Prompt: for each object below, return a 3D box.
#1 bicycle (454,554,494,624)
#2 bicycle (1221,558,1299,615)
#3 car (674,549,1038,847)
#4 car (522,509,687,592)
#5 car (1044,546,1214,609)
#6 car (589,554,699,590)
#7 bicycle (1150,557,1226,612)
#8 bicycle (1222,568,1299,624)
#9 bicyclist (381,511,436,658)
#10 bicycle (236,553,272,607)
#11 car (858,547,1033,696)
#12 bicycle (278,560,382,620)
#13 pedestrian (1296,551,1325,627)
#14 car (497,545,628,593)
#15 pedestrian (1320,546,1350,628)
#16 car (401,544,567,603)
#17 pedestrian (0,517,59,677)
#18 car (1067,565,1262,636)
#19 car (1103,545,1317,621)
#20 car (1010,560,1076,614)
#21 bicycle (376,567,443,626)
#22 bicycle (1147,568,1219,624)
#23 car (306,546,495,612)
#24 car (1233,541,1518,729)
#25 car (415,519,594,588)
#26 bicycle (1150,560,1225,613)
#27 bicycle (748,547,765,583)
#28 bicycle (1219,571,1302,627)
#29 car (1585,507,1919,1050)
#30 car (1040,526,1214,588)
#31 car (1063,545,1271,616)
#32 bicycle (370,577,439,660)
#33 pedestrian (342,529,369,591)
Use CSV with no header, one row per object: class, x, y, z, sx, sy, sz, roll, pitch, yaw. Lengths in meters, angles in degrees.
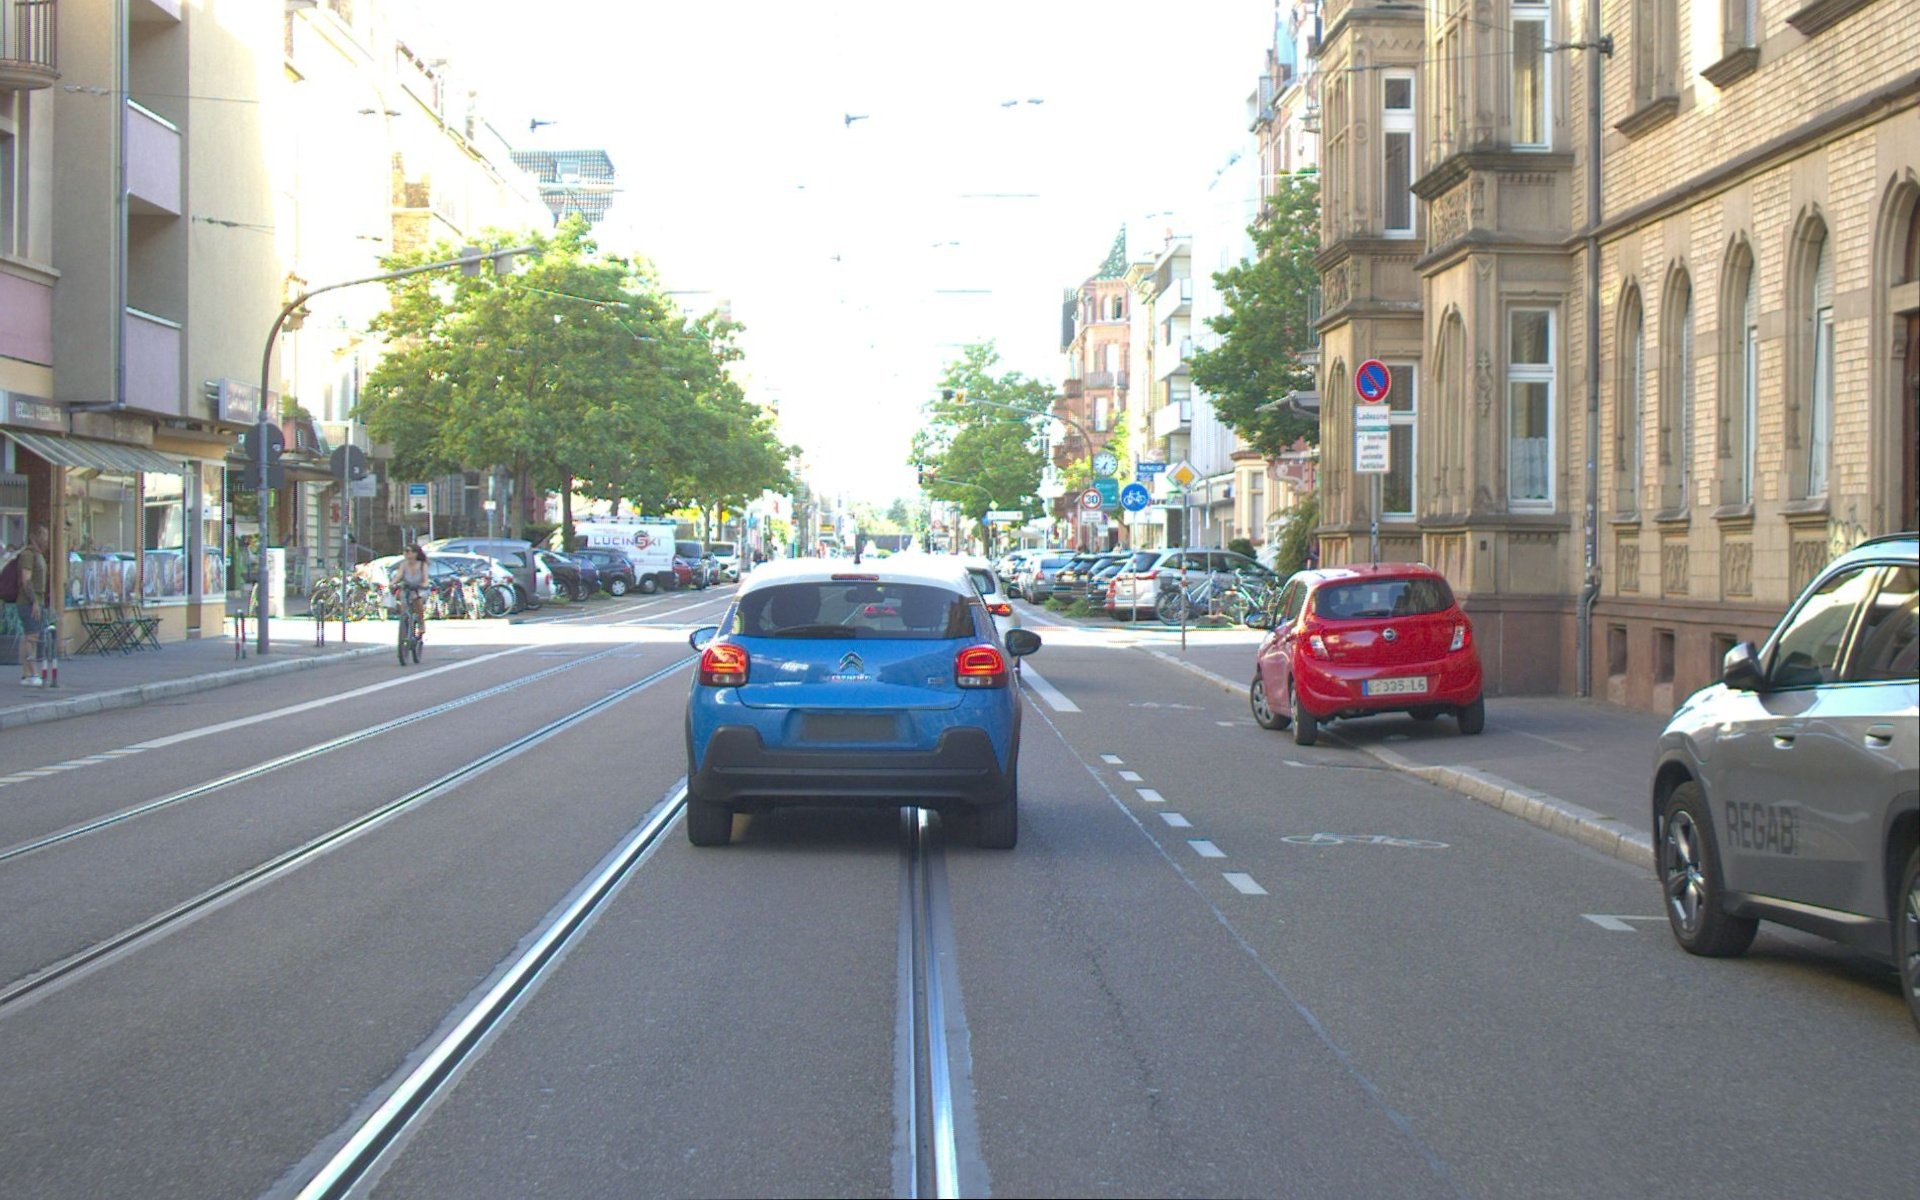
bicycle,-10.058,-0.239,71.200,0.681,1.315,2.436,1,3,-5
bicycle,6.134,-0.281,70.176,1.556,1.123,0.551,1,0,6
car,-0.546,0.469,18.691,1.762,1.436,3.557,1,0,-1
car,-12.322,-1.708,119.170,5.370,2.739,1.806,1,0,-30
car,4.513,-0.596,91.813,3.986,1.590,2.088,1,0,-25
car,-11.932,-1.050,129.849,3.796,1.261,1.516,1,0,-26
bicycle,4.817,-0.328,72.596,1.560,1.123,0.294,1,0,6
bicycle,6.182,-0.085,70.741,1.556,1.123,0.528,1,0,6
bicyclist,-7.614,-0.218,47.487,0.612,2.007,0.734,1,0,0
bicycle,-14.610,-0.413,71.096,0.403,1.106,1.838,0,0,-22
car,-0.174,0.222,39.524,1.873,1.590,4.000,1,0,0
bicycle,-12.938,-0.217,70.586,2.433,1.105,0.682,3,4,40
pedestrian,7.685,-0.242,75.412,0.518,1.643,0.863,1,0,-1
car,-13.090,-1.008,113.069,3.986,1.484,1.807,1,0,-17
pedestrian,8.228,-0.280,75.355,0.518,1.772,0.863,1,0,-1
car,-12.239,-0.676,88.440,3.831,1.425,1.766,1,0,-26
pedestrian,-9.936,-0.033,36.501,0.563,1.680,0.616,1,0,-2
car,4.675,0.010,78.544,3.986,1.531,1.919,1,0,-25
car,5.527,-0.368,75.938,4.350,1.590,1.854,1,0,-25
car,2.563,-0.409,106.688,1.873,1.590,4.719,1,0,0
bicycle,-11.418,-0.076,71.244,0.681,1.119,1.888,0,3,-31
bicycle,4.563,-0.090,70.484,1.397,1.123,0.551,1,0,-4
car,-12.524,-0.459,77.013,3.779,1.395,1.755,1,0,-33
car,3.601,0.271,30.574,1.865,1.478,4.401,-2,0,-1
car,-12.357,-1.262,93.285,4.352,1.777,1.996,1,0,-33
bicycle,4.784,-0.278,72.255,1.556,1.075,0.307,1,0,6
bicycle,-9.749,-1.666,164.417,0.680,1.673,2.097,1,0,-1
bicycle,6.241,-0.018,71.397,1.675,1.123,0.551,1,0,6
car,3.707,0.541,12.056,1.865,1.641,4.402,1,0,-5
car,4.568,-1.180,94.252,4.302,1.590,1.983,1,0,-25
car,4.918,-0.460,81.683,4.433,1.590,2.089,1,0,-25
bicycle,-7.616,0.245,47.207,0.602,1.092,2.044,-2,0,0
pedestrian,-16.274,-1.071,92.564,0.569,1.647,0.641,1,0,-1
